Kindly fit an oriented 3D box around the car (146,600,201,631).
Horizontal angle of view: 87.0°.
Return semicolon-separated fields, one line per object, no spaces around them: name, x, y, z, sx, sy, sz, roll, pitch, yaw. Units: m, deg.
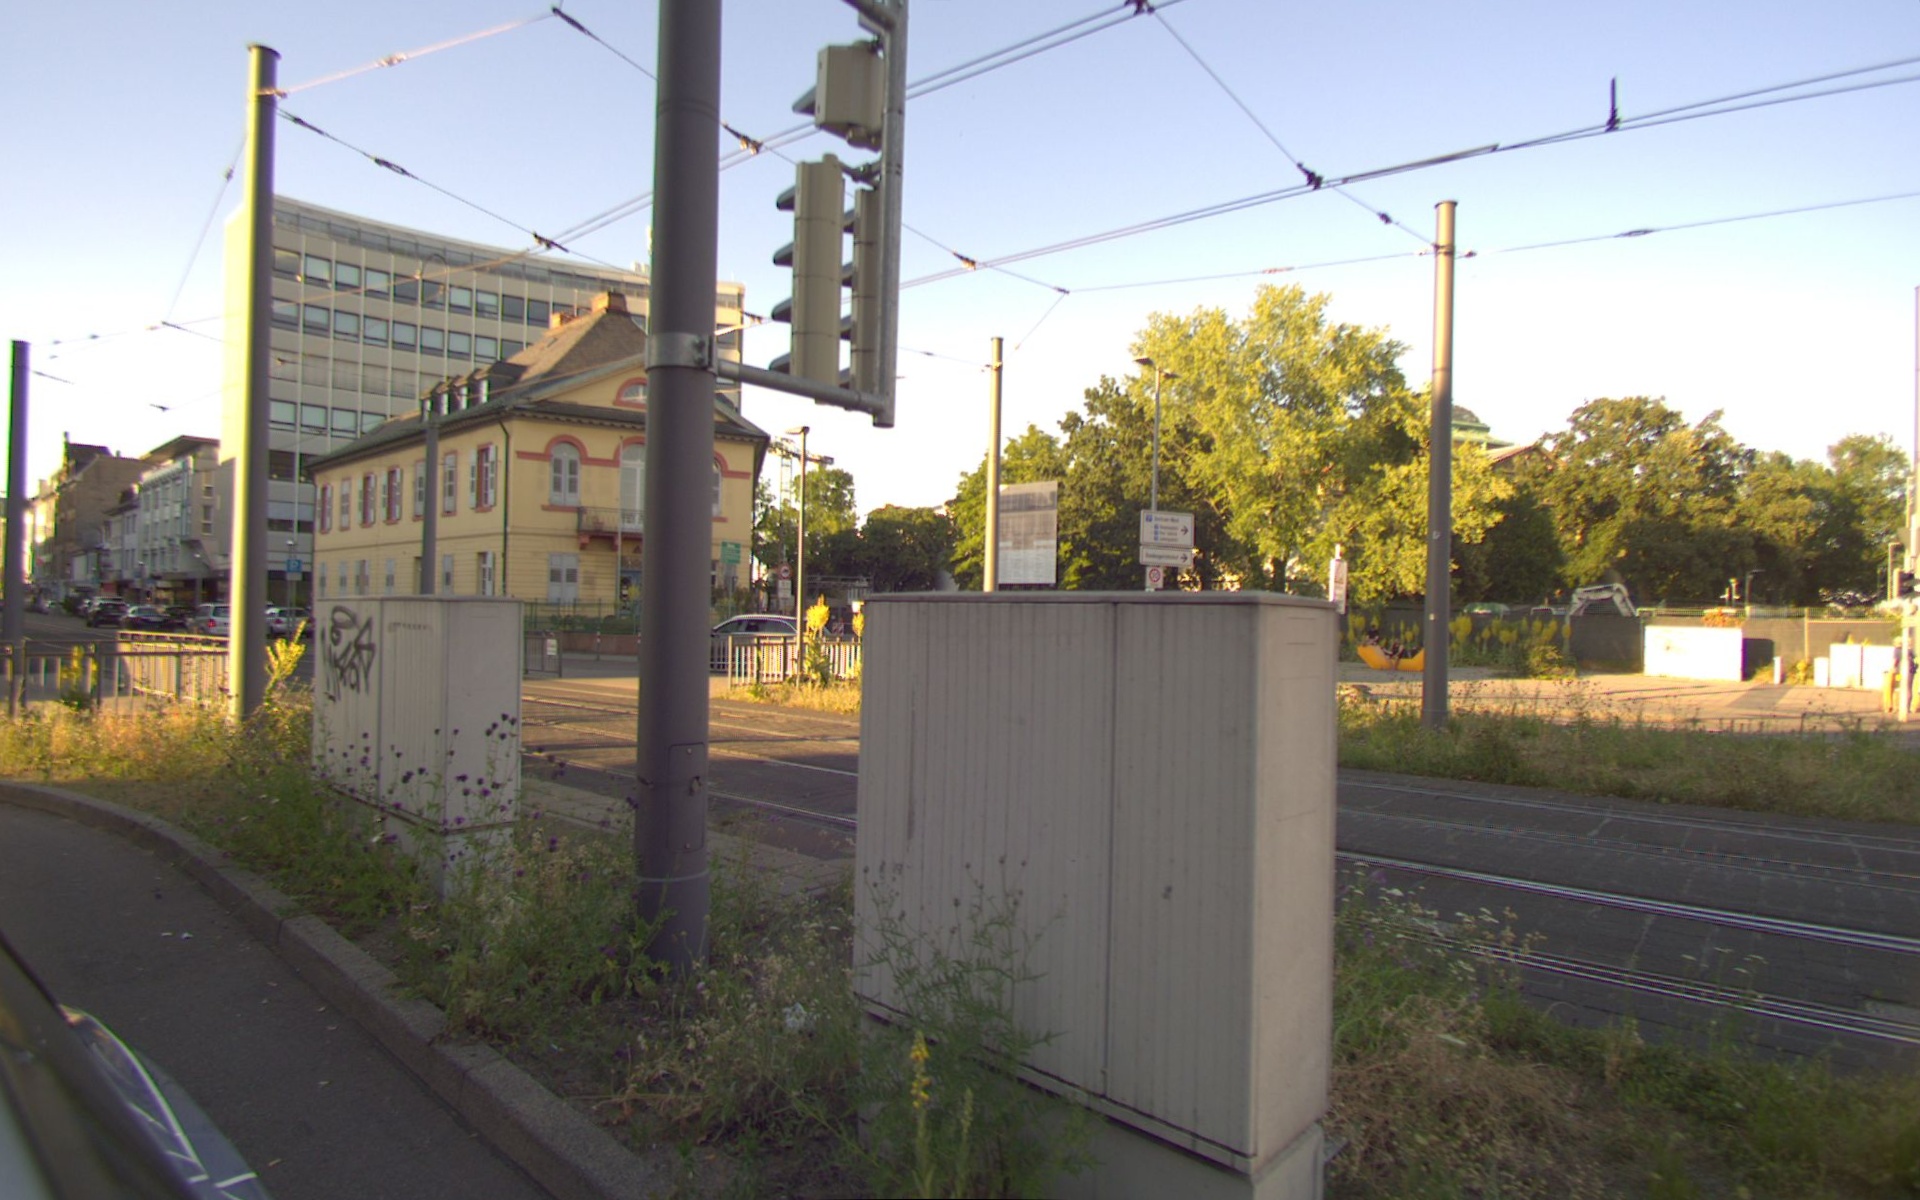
car;-50.258;0.969;64.641;3.997;1.915;1.973;0;-2;40

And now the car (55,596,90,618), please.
car;-85.803;0.684;97.824;3.997;1.962;1.973;0;-2;40

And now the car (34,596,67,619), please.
car;-96.088;0.806;106.895;3.997;2.394;1.973;0;-2;40

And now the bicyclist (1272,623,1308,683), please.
bicyclist;7.146;1.136;21.934;0.723;1.267;0.664;1;-2;19

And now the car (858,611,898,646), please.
car;-4.715;1.629;57.523;1.690;1.863;4.032;2;-2;-12

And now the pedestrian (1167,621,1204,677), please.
pedestrian;7.227;1.558;32.462;0.865;1.737;0.831;2;-2;-9

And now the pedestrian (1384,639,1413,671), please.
pedestrian;16.797;2.106;38.774;0.735;1.166;0.976;0;-2;45

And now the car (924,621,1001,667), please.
car;0.016;1.586;37.422;1.754;1.555;4.302;2;-2;-15

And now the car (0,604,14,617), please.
car;-110.775;1.201;116.756;3.996;1.519;1.825;0;-2;39

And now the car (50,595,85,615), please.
car;-89.891;0.493;101.949;3.996;2.029;1.974;0;1;39

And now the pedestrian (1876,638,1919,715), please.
pedestrian;22.385;1.795;23.804;0.930;1.749;0.822;1;-1;-2

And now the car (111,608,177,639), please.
car;-40.167;1.140;49.775;4.658;1.439;1.989;0;-2;45

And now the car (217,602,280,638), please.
car;-35.680;1.004;50.704;3.804;1.721;1.713;0;-2;42

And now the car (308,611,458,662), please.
car;-17.856;1.094;31.304;4.314;1.421;1.899;0;-2;26

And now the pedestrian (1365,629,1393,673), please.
pedestrian;16.547;2.007;39.926;0.810;1.678;0.764;2;-2;-45

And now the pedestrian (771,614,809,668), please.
pedestrian;-4.894;1.164;29.159;1.027;1.514;1.007;1;-1;-10

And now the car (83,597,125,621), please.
car;-71.460;0.738;84.457;3.997;1.962;1.973;0;-2;40

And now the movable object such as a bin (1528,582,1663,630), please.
movable object such as a bin;28.881;0.304;46.195;1.965;2.029;5.040;2;-1;-20

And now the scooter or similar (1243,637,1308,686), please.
scooter or similar;8.625;1.670;27.663;1.628;1.302;0.462;1;-1;-5

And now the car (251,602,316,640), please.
car;-31.775;0.990;47.495;3.438;1.721;1.713;0;-2;42

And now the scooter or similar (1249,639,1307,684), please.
scooter or similar;8.531;1.653;27.181;1.383;1.175;0.462;1;-1;-4

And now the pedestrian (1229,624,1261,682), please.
pedestrian;8.217;1.524;29.201;0.679;1.625;0.597;2;-2;-42

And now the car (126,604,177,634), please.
car;-54.873;1.290;68.665;3.997;1.962;1.973;-1;-2;40

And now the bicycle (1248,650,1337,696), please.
bicycle;7.182;1.569;21.897;1.782;0.899;0.676;1;-2;19

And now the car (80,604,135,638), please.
car;-52.401;1.253;62.194;4.118;2.005;1.972;0;-2;42

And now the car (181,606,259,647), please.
car;-30.709;1.083;41.961;4.071;1.610;1.814;-1;-2;42

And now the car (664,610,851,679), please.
car;-5.112;1.048;25.477;4.393;1.528;1.982;0;1;28
